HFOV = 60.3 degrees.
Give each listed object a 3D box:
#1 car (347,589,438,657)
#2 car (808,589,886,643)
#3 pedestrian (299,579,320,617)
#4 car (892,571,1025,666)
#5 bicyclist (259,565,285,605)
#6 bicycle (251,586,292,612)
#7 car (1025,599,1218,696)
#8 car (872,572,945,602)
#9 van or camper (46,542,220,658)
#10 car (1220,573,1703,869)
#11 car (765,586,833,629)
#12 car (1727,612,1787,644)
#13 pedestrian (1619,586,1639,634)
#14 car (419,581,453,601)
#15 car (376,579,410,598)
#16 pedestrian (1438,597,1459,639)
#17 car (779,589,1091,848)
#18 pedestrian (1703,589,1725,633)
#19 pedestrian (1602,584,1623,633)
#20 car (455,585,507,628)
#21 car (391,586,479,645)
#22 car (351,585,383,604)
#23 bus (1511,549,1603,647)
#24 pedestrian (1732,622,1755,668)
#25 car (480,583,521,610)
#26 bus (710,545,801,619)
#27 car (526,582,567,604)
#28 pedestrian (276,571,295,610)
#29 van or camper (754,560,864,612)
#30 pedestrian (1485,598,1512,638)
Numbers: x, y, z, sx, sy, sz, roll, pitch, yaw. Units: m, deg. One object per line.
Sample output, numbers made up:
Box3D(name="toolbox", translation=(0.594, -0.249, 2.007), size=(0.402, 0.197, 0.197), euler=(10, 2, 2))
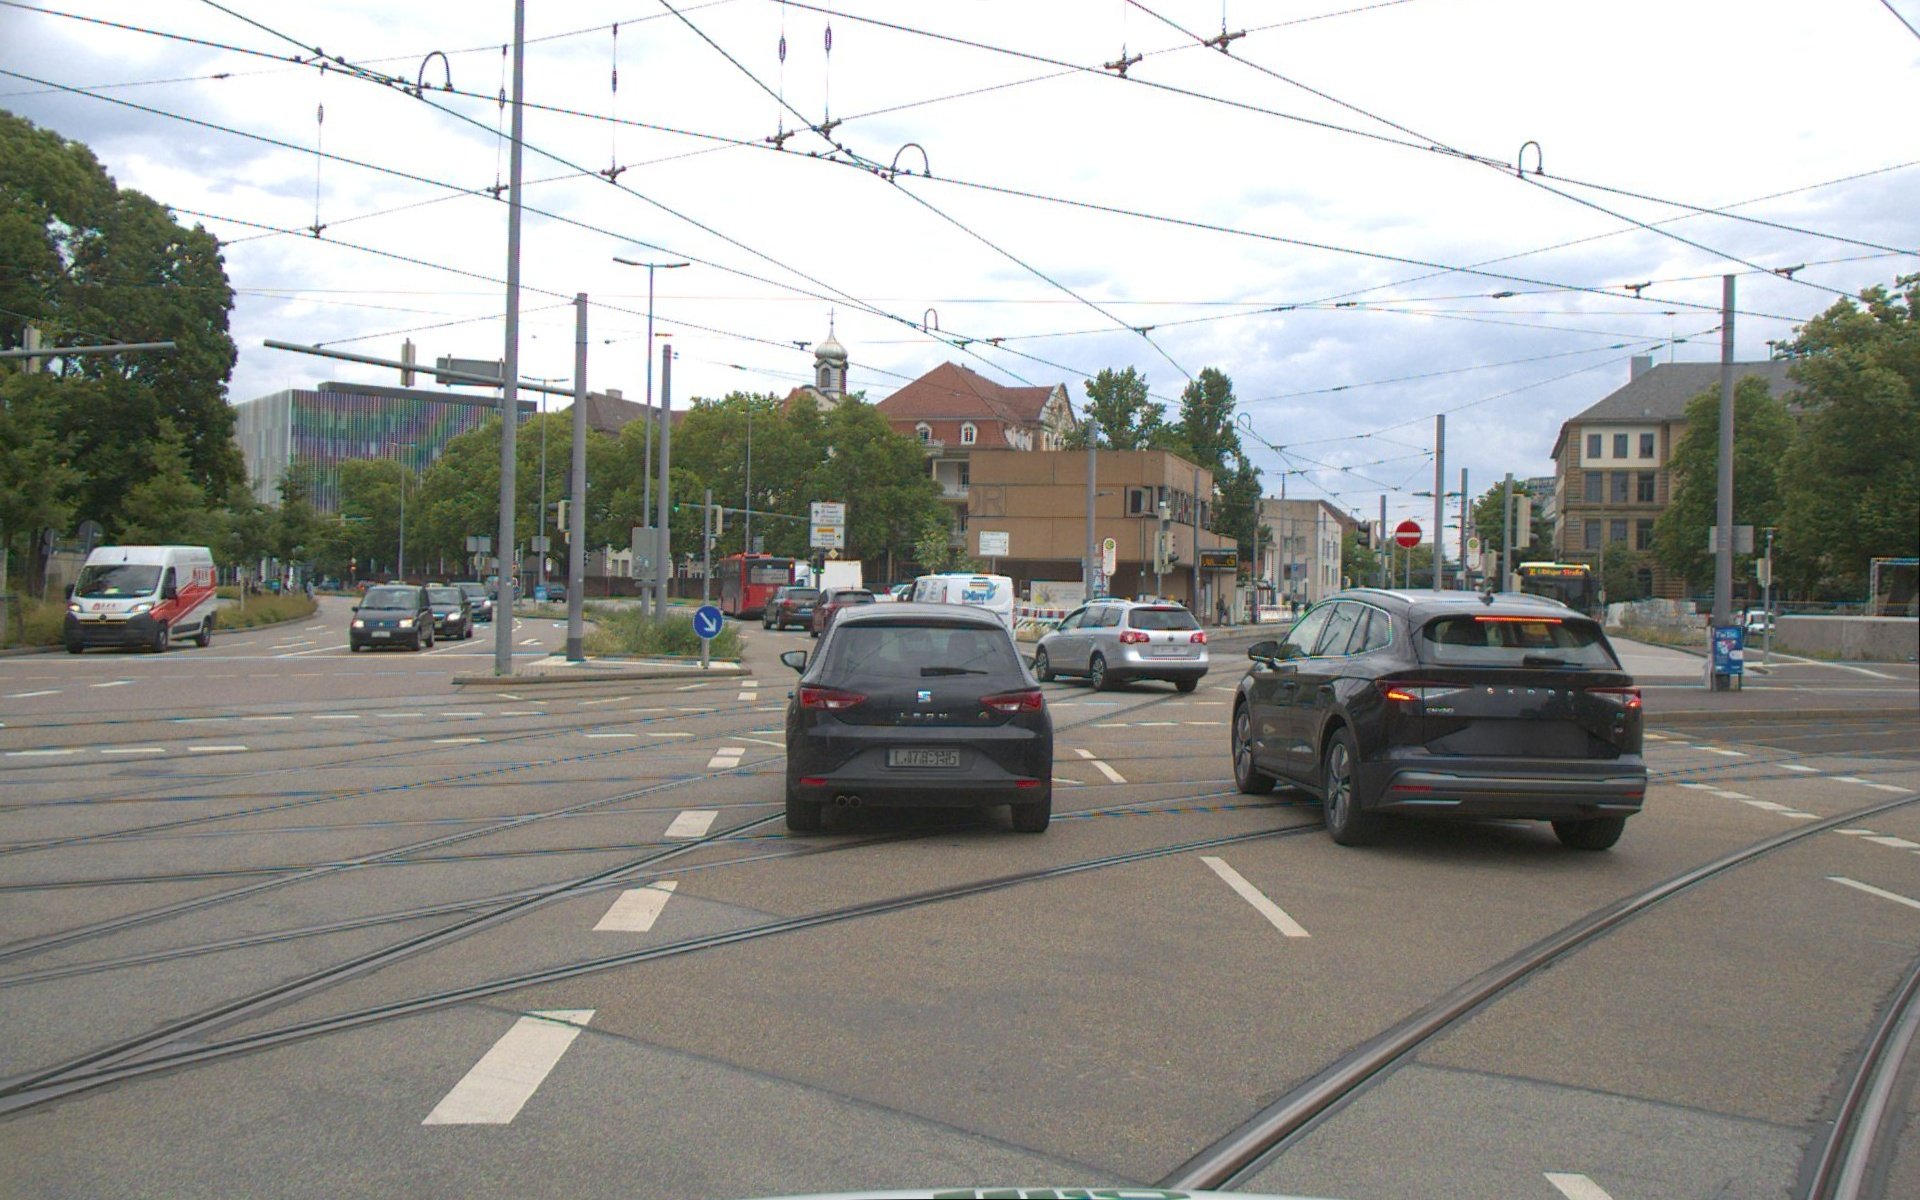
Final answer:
Box3D(name="car", translation=(-13.529, 0.520, 39.597), size=(1.589, 1.542, 3.655), euler=(0, 0, -11))
Box3D(name="car", translation=(-3.623, 0.478, 52.448), size=(1.826, 1.628, 4.191), euler=(1, 0, -13))
Box3D(name="pedestrian", translation=(-32.707, -0.117, 83.203), size=(0.878, 1.874, 0.664), euler=(1, 0, -16))
Box3D(name="car", translation=(-0.121, 0.399, 38.608), size=(1.960, 2.054, 5.013), euler=(1, 0, -14))
Box3D(name="bicyclist", translation=(-32.238, -0.710, 77.501), size=(0.773, 1.876, 0.834), euler=(1, 0, 15))
Box3D(name="bicycle", translation=(-32.249, -0.030, 77.517), size=(0.772, 1.179, 1.908), euler=(1, 0, 15))
Box3D(name="car", translation=(2.687, 0.750, 28.648), size=(1.693, 1.508, 4.606), euler=(0, 0, -17))
Box3D(name="car", translation=(-3.627, -0.911, 117.311), size=(4.951, 1.897, 1.973), euler=(1, -3, -37))
Box3D(name="van or camper", translation=(-19.686, -0.021, 39.690), size=(2.238, 2.572, 5.559), euler=(0, 0, -10))
Box3D(name="car", translation=(3.260, 0.693, 11.807), size=(1.865, 1.687, 4.512), euler=(1, 0, -3))
Box3D(name="car", translation=(-6.288, 0.260, 64.064), size=(1.960, 1.593, 4.188), euler=(1, 0, -15))
Box3D(name="car", translation=(45.360, 1.580, 94.203), size=(1.868, 1.691, 4.003), euler=(1, 0, 8))
Box3D(name="pedestrian", translation=(60.003, 0.900, 148.345), size=(1.279, 4.328, 1.348), euler=(1, 0, 8))
Box3D(name="car", translation=(-46.702, -0.813, 147.312), size=(1.974, 1.780, 3.958), euler=(1, 0, -31))
Box3D(name="car", translation=(-50.283, -1.036, 146.612), size=(1.975, 1.668, 3.956), euler=(1, 0, -32))
Box3D(name="pedestrian", translation=(21.810, 0.784, 73.844), size=(0.807, 1.840, 1.021), euler=(1, 0, 23))
Box3D(name="car", translation=(-0.354, 0.698, 11.778), size=(1.713, 1.489, 3.993), euler=(2, 0, -8))
Box3D(name="pedestrian", translation=(31.684, 0.466, 69.527), size=(0.807, 1.840, 1.021), euler=(0, -1, 23))
Box3D(name="pedestrian", translation=(58.599, 0.729, 148.514), size=(1.357, 4.328, 1.348), euler=(1, 0, 8))
Box3D(name="car", translation=(-20.248, 0.236, 70.069), size=(1.838, 1.755, 4.696), euler=(0, 0, -13))
Box3D(name="car", translation=(-14.774, 0.404, 46.765), size=(1.837, 1.534, 4.466), euler=(-1, 1, -11))
Box3D(name="car", translation=(-55.783, -0.494, 155.493), size=(1.976, 1.711, 3.963), euler=(1, 0, -34))
Box3D(name="bus", translation=(22.888, -0.056, 63.574), size=(2.954, 3.325, 13.045), euler=(1, 0, 19))
Box3D(name="pedestrian", translation=(32.702, 1.872, 69.030), size=(0.807, 1.886, 1.021), euler=(1, 0, 23))
Box3D(name="car", translation=(-36.082, -0.311, 129.821), size=(1.976, 2.049, 3.952), euler=(1, 0, -34))
Box3D(name="bus", translation=(-10.387, -0.829, 82.661), size=(3.007, 3.355, 12.333), euler=(1, 0, -14))
Box3D(name="car", translation=(-30.016, -0.530, 119.986), size=(1.972, 1.566, 3.961), euler=(1, 0, -29))
Box3D(name="pedestrian", translation=(-32.613, -0.444, 79.950), size=(0.744, 1.874, 0.763), euler=(0, 0, -16))
Box3D(name="van or camper", translation=(-10.213, -0.917, 112.397), size=(7.077, 3.390, 2.838), euler=(1, -1, -38))
Box3D(name="pedestrian", translation=(23.045, 0.753, 70.734), size=(0.984, 1.673, 1.021), euler=(1, 0, 23))
